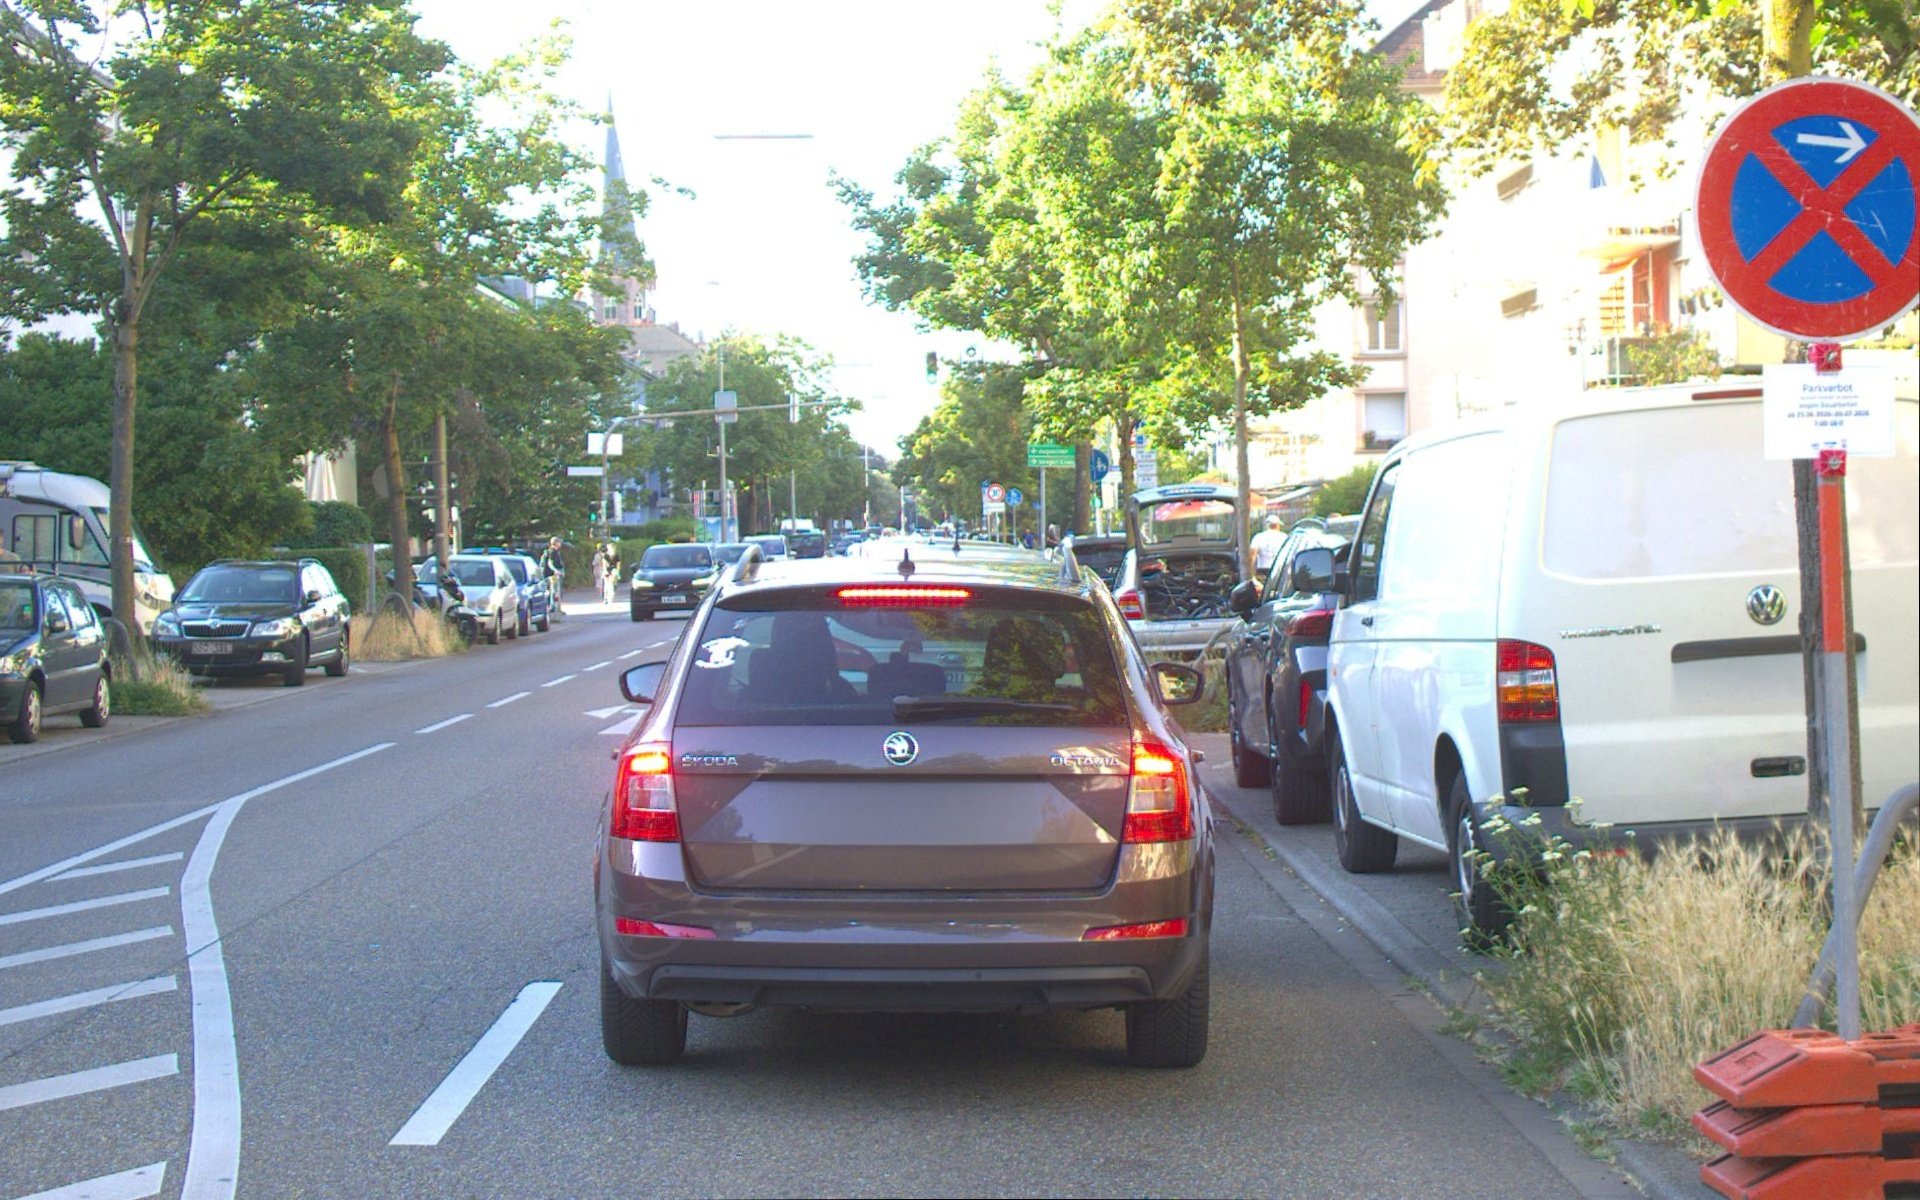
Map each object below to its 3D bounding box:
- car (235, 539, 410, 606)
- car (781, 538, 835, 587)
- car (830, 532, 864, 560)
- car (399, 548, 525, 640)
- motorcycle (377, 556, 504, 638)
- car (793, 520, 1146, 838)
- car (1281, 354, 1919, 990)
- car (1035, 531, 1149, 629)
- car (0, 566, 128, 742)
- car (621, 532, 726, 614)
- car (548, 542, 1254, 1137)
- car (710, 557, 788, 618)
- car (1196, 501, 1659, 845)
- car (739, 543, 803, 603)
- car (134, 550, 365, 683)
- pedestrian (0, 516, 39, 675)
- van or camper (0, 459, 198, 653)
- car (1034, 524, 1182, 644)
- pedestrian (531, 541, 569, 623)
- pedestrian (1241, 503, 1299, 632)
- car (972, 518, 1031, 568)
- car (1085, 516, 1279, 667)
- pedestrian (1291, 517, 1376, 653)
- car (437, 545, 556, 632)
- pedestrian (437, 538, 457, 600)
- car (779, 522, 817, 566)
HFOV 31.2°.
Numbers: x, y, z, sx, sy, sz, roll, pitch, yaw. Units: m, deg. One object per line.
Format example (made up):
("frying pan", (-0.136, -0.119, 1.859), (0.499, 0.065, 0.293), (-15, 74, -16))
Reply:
("car", (-18.286, -0.810, 98.743), (4.634, 1.805, 1.862), (-1, 1, -1))
("car", (-6.312, -1.581, 142.995), (1.993, 1.902, 4.964), (-3, 1, -1))
("car", (-6.626, -3.192, 202.291), (1.830, 1.574, 4.000), (-2, 1, 0))
("car", (-8.425, -0.125, 58.400), (1.593, 1.465, 3.804), (1, 1, 0))
("motorcycle", (-8.268, -0.040, 54.692), (2.052, 1.260, 0.765), (-1, 1, 38))
("car", (0.058, 0.356, 19.130), (1.737, 1.565, 4.000), (1, 1, 0))
("car", (2.559, 0.193, 13.825), (1.903, 2.096, 4.641), (-1, 1, -2))
("car", (2.124, -0.347, 55.634), (1.703, 1.445, 4.013), (-3, 1, 2))
("car", (-8.397, 0.433, 29.682), (1.543, 1.391, 3.666), (-1, 1, -1))
("car", (-5.943, -0.563, 71.671), (1.835, 1.565, 4.000), (-3, 1, -1))
("car", (-0.182, 0.566, 10.798), (1.773, 1.484, 4.311), (0, 1, -1))
("car", (-5.621, -0.359, 92.020), (1.760, 1.447, 4.534), (-3, 1, 0))
("car", (2.476, 0.321, 19.264), (1.856, 1.598, 4.312), (-4, 1, -1))
("car", (-6.129, -0.890, 111.777), (1.805, 1.798, 4.746), (-3, 1, -1))
("car", (-8.503, 0.156, 41.508), (1.867, 1.489, 4.517), (0, 1, 0))
("pedestrian", (-10.936, -0.051, 39.086), (0.713, 1.786, 0.572), (-1, 1, 2))
("van or camper", (-14.923, -0.700, 50.775), (6.797, 2.763, 2.352), (1, 1, -1))
("car", (2.104, -0.260, 49.885), (1.855, 1.576, 4.014), (-3, 1, -1))
("pedestrian", (-10.018, -0.449, 83.991), (0.780, 1.981, 0.821), (-2, 1, 0))
("pedestrian", (4.303, -0.458, 47.784), (0.662, 1.743, 0.772), (-3, 1, 0))
("car", (1.527, -2.085, 125.024), (1.994, 1.766, 4.000), (1, 1, 2))
("car", (2.372, -0.127, 37.636), (1.708, 1.475, 4.269), (-3, 1, -1))
("pedestrian", (4.581, -0.183, 42.125), (0.757, 1.634, 0.694), (-1, 1, 36))
("car", (-8.459, -0.237, 63.029), (1.648, 1.512, 4.074), (0, 1, 0))
("pedestrian", (-14.860, -0.908, 99.628), (0.449, 1.790, 0.504), (-2, 1, 0))
("car", (-9.310, -3.208, 197.510), (1.993, 2.469, 4.000), (-1, 1, 0))
